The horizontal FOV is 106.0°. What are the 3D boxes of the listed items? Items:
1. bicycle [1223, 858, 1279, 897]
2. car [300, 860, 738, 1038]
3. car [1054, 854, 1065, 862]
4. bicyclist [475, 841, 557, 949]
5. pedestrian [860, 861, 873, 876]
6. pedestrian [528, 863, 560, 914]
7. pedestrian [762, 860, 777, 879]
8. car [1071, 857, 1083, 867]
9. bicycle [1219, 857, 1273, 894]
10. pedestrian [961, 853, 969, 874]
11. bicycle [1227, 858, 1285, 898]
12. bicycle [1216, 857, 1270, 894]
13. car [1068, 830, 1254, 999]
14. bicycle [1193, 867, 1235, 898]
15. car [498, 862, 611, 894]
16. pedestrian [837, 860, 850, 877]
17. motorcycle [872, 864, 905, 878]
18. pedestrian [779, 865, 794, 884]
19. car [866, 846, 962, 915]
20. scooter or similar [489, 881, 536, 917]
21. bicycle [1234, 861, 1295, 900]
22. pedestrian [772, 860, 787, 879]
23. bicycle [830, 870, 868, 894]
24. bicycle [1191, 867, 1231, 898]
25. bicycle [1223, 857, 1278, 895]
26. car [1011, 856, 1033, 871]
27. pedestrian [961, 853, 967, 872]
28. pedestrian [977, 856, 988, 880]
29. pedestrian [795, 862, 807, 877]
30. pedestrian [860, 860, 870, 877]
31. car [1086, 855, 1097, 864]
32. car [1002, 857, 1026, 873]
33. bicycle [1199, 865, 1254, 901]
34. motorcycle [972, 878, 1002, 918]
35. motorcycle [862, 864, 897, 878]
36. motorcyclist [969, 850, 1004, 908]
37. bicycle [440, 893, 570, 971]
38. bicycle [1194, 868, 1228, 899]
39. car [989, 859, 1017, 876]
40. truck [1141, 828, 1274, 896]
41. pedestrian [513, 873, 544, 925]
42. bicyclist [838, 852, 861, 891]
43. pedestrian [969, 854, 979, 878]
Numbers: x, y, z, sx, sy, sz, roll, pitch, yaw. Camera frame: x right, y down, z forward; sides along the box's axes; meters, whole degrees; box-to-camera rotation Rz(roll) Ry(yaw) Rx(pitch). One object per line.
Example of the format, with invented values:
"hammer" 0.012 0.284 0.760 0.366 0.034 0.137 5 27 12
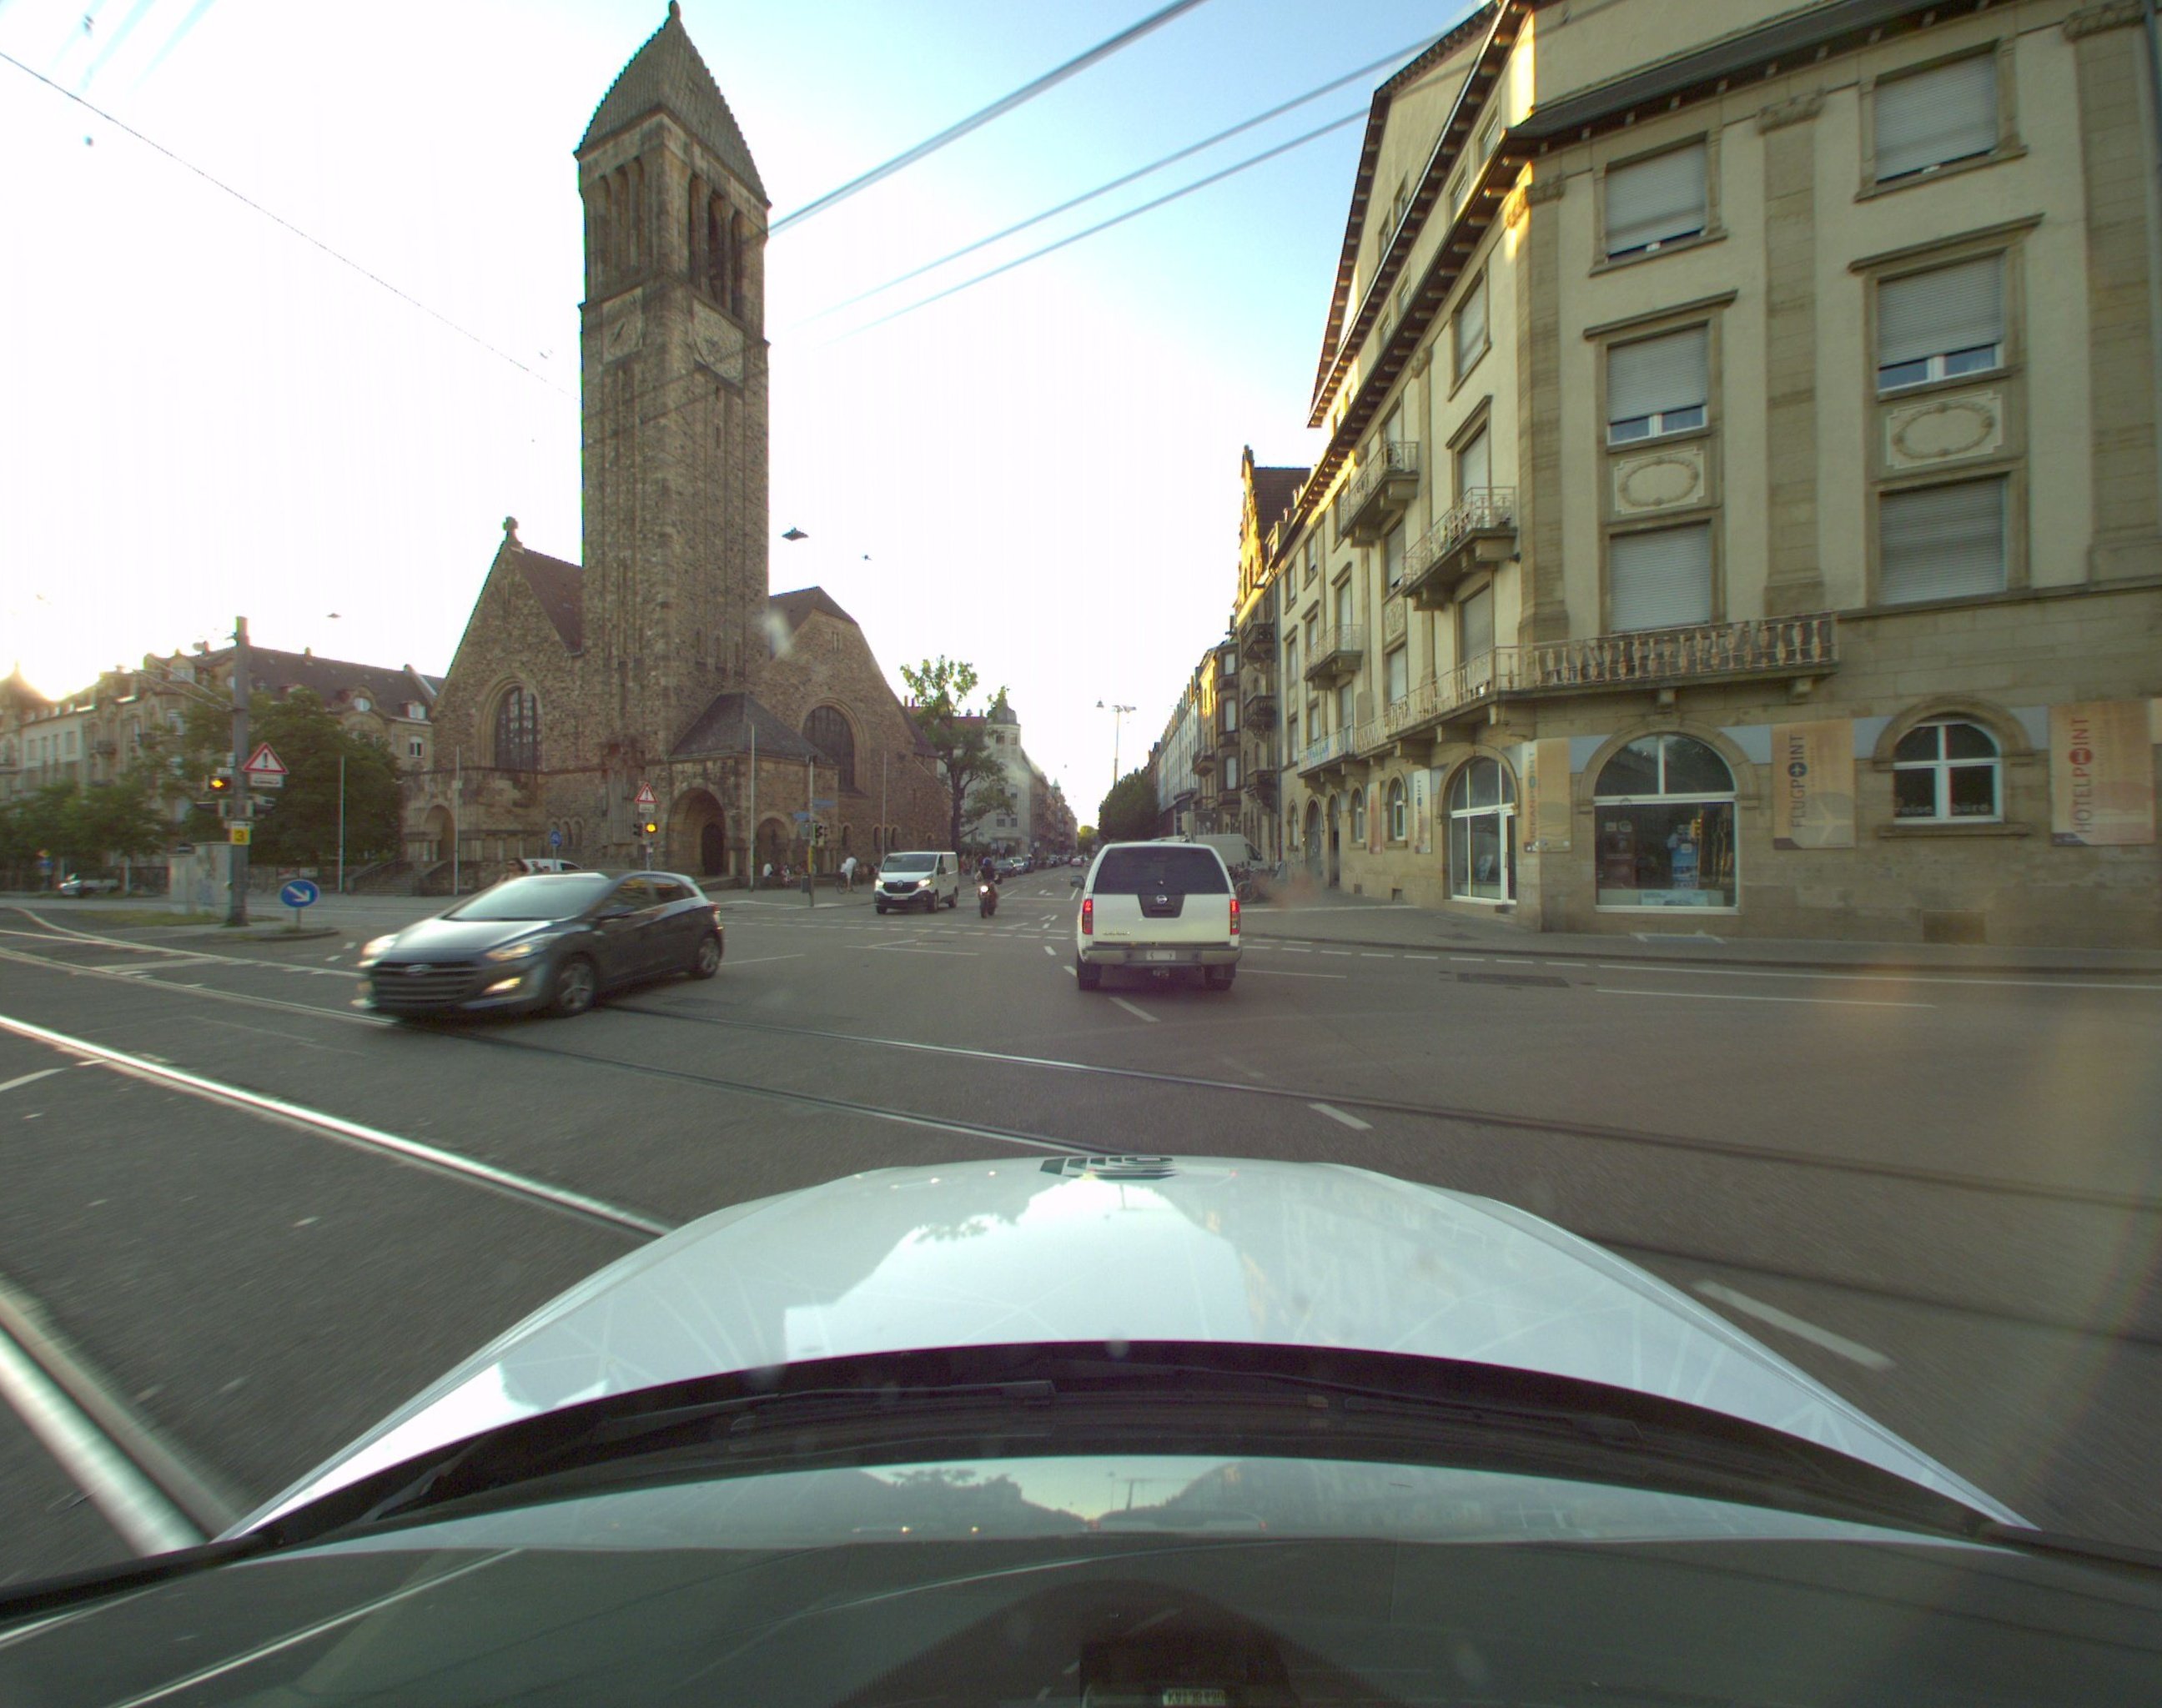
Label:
"bicycle" 5.992 0.816 28.697 1.811 1.238 0.478 -4 -1 0
"car" -5.847 0.859 9.273 1.986 1.477 4.141 -2 0 2
"car" -3.982 0.775 149.911 1.851 1.529 4.002 0 0 2
"bicyclist" -8.919 0.622 12.885 0.597 1.644 0.963 0 -1 1
"pedestrian" -14.365 0.979 54.488 0.547 0.960 0.713 0 -1 23
"pedestrian" -18.088 1.162 27.442 0.629 1.698 0.605 0 -1 13
"pedestrian" -15.557 0.776 40.707 0.517 0.960 0.482 0 -1 22
"car" -0.590 1.343 134.307 1.851 1.529 4.002 0 0 2
"bicycle" 6.086 0.792 30.026 1.811 1.238 0.410 -4 -1 0
"pedestrian" -10.171 0.839 71.390 0.643 1.855 0.559 0 -1 -12
"bicycle" 5.995 0.806 27.985 1.811 1.238 0.488 -4 -1 0
"bicycle" 6.069 0.798 30.559 1.849 1.238 0.531 -4 -1 0
"car" 0.954 0.660 10.727 1.985 1.809 4.003 0 0 3
"bicycle" 4.759 1.016 29.155 1.367 1.024 0.317 -4 -1 0
"car" -26.239 1.149 40.737 1.698 1.517 4.482 0 -1 27
"pedestrian" -13.406 0.813 46.060 0.517 0.960 0.482 0 -1 20
"motorcycle" -14.004 1.220 59.421 2.239 0.987 0.707 0 -1 -3
"pedestrian" -15.017 1.057 41.579 0.473 0.960 0.526 -1 -1 32
"car" -5.391 0.814 26.986 1.986 2.014 4.952 -1 -1 1
"scooter or similar" -18.538 1.453 26.569 0.629 1.103 1.082 0 -1 14
"bicycle" 6.075 0.875 27.039 1.811 1.150 0.636 -4 -1 0
"pedestrian" -14.951 0.773 40.406 0.517 0.960 0.482 0 -1 22
"bicycle" -10.823 1.284 38.071 0.651 1.078 2.254 0 -1 15
"bicycle" 4.737 1.022 29.703 1.328 1.024 0.317 -4 -1 0
"bicycle" 6.128 0.787 29.419 1.811 1.238 0.412 -4 -1 0
"car" -6.075 1.004 83.768 1.851 1.529 4.002 0 0 2
"pedestrian" -10.379 0.762 72.240 0.559 1.695 0.643 0 -1 -5
"pedestrian" -7.688 1.096 63.589 0.646 1.855 0.557 0 -1 -27
"pedestrian" -17.445 0.955 50.748 0.550 0.960 0.708 0 -1 -4
"pedestrian" -12.148 0.810 45.812 0.522 0.960 0.477 0 -1 -13
"car" 1.785 0.948 141.724 1.851 1.529 4.002 0 0 2
"car" -6.322 1.025 77.186 1.851 1.529 4.002 0 0 2
"bicycle" 4.910 0.975 27.551 1.721 1.083 0.317 -4 -1 0
"motorcycle" -2.678 1.232 23.360 0.597 1.043 1.946 0 -1 2
"motorcycle" -14.199 1.204 57.398 2.239 0.987 0.707 0 -1 -3
"motorcyclist" -2.717 0.721 23.508 0.871 1.644 0.963 0 -1 1
"bicycle" -8.908 1.174 12.700 0.597 1.043 1.946 0 -1 2
"bicycle" 4.532 1.027 28.451 1.073 1.024 0.317 -4 -1 0
"car" -6.601 1.112 68.989 1.851 1.398 4.002 0 0 2
"truck" 5.310 0.294 33.645 5.703 2.565 2.261 0 0 -41
"pedestrian" -18.739 1.516 27.623 0.629 1.698 0.605 0 -1 15
"bicyclist" -10.825 0.804 38.070 0.651 1.827 0.863 0 -1 15
"pedestrian" -8.336 0.953 63.314 0.646 1.855 0.557 0 -1 -27
